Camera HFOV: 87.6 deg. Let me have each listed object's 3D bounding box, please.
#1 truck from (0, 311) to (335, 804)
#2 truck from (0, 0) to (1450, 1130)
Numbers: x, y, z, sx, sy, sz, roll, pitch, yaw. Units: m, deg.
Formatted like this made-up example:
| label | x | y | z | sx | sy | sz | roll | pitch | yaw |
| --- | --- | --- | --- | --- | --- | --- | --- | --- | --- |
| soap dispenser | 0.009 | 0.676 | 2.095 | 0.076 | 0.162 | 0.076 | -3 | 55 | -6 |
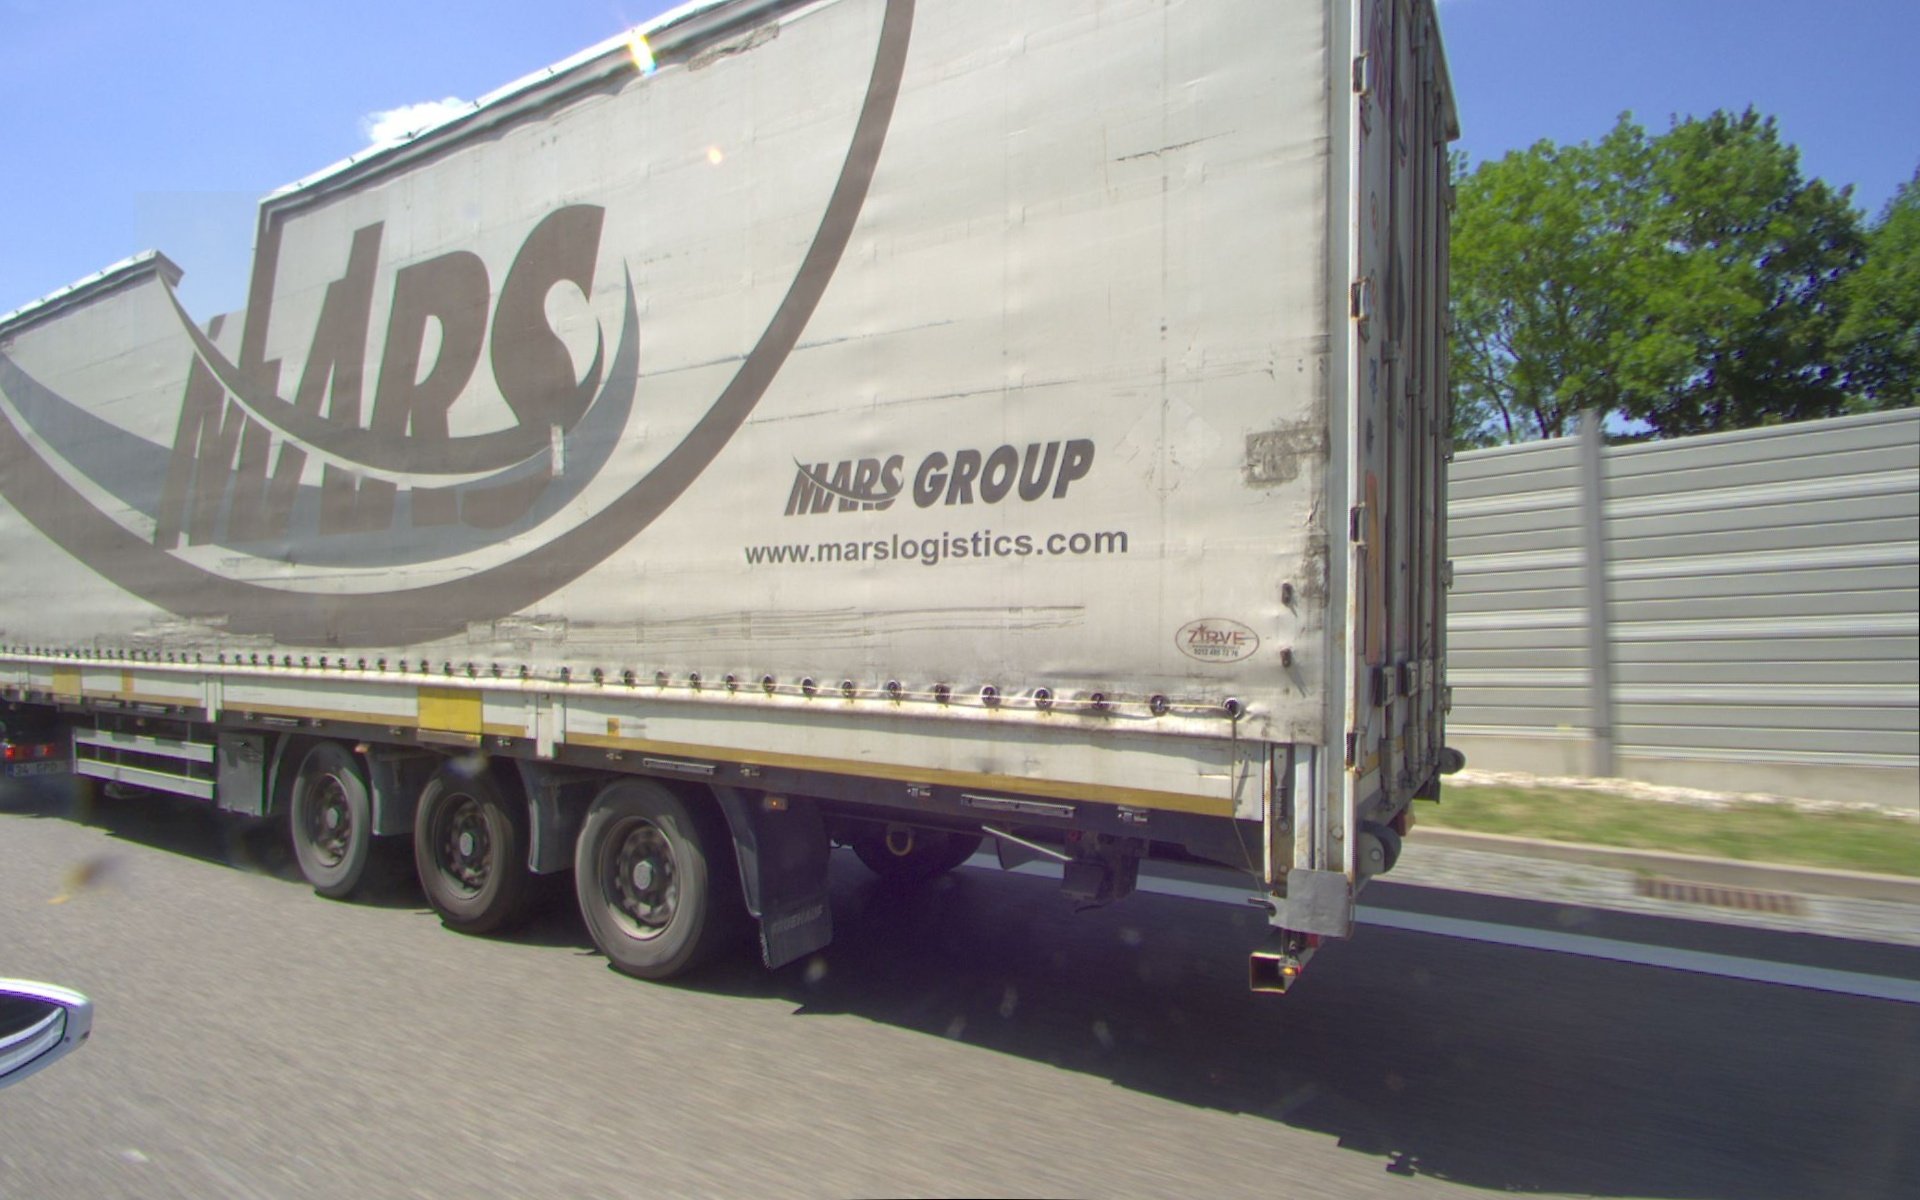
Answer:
| label | x | y | z | sx | sy | sz | roll | pitch | yaw |
| --- | --- | --- | --- | --- | --- | --- | --- | --- | --- |
| truck | -9.753 | -0.233 | 10.974 | 5.672 | 4.119 | 2.715 | -2 | -2 | 32 |
| truck | -4.048 | -0.435 | 7.400 | 13.546 | 4.119 | 2.722 | -2 | -2 | 32 |
